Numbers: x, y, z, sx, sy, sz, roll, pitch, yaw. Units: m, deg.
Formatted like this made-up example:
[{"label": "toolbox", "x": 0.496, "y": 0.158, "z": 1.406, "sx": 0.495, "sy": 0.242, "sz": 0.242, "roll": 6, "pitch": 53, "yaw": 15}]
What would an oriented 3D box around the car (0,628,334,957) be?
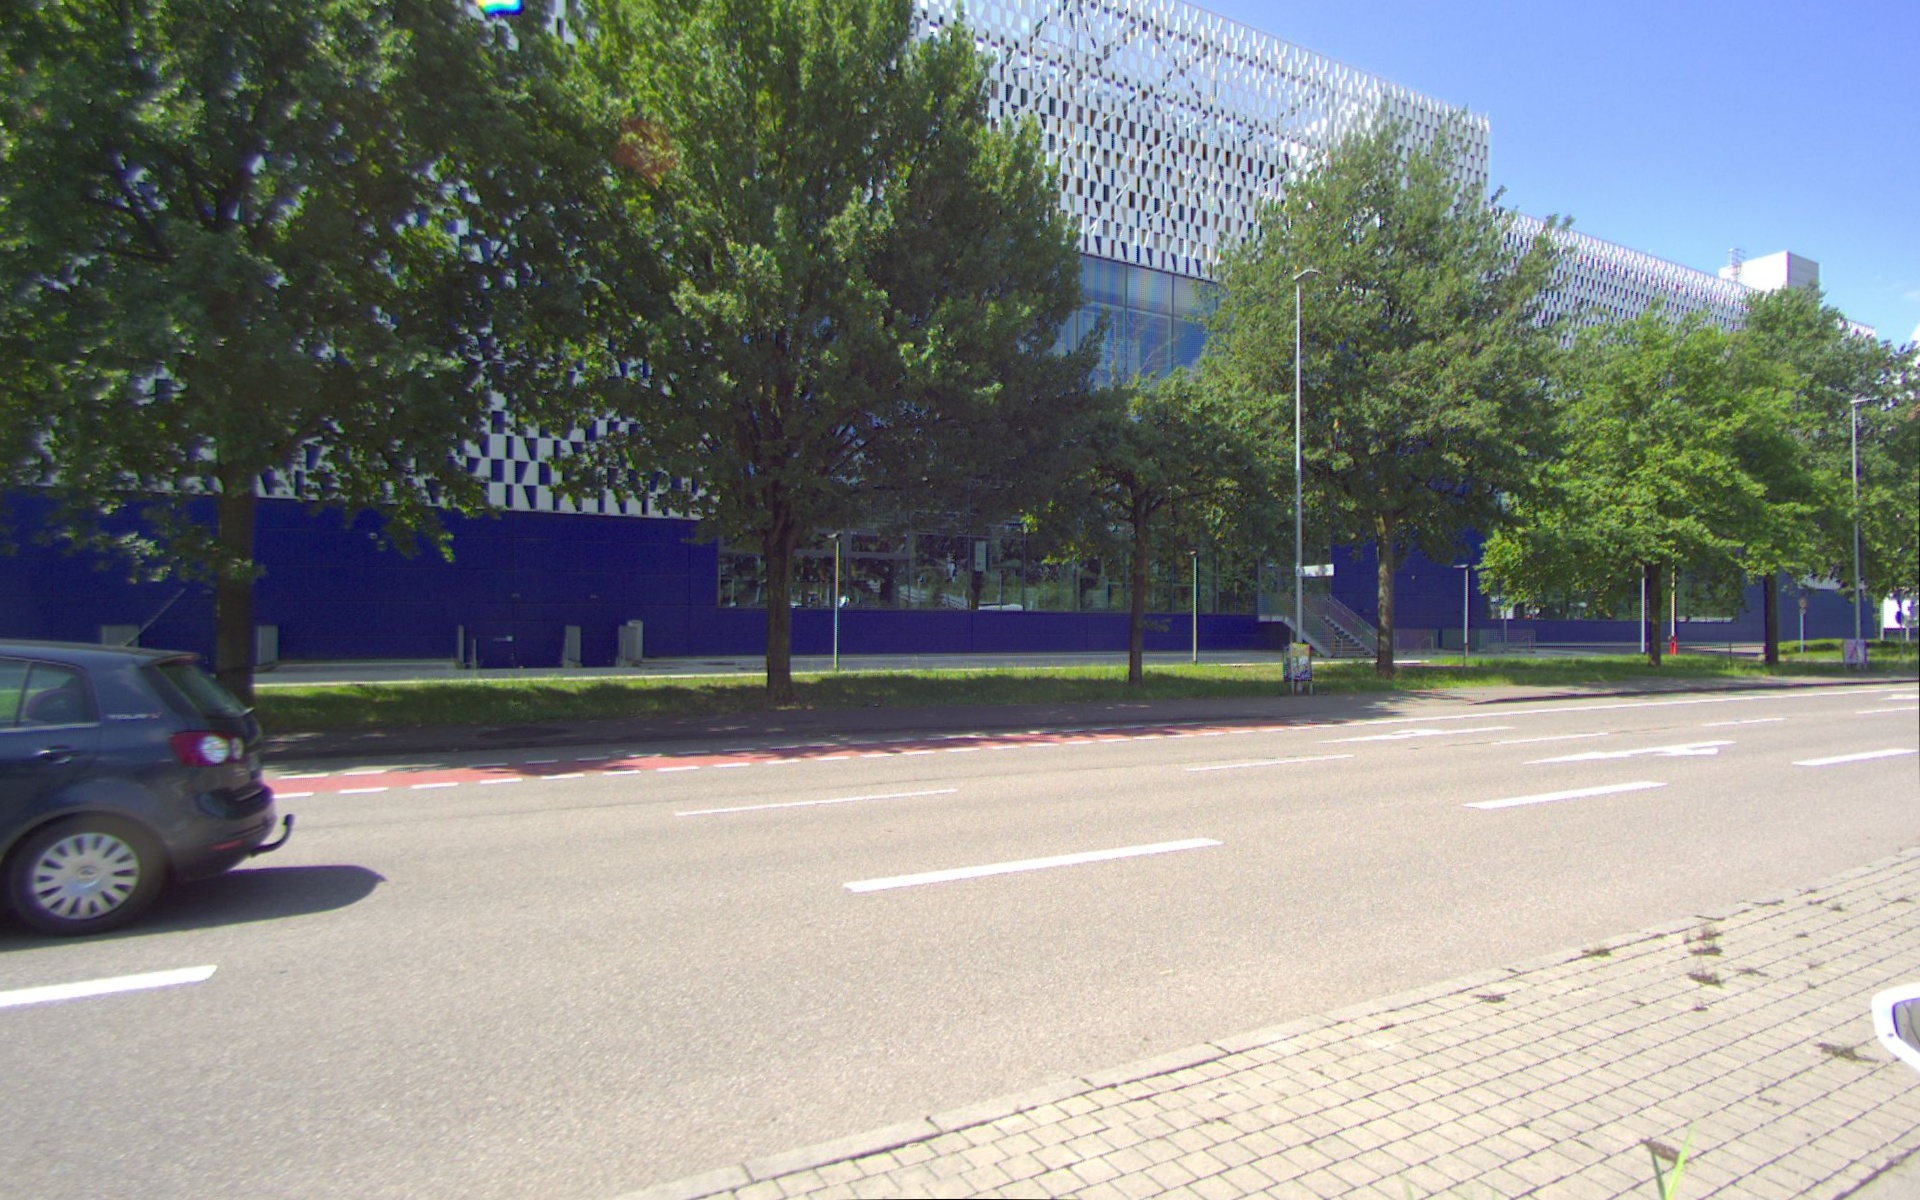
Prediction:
[{"label": "car", "x": -5.865, "y": 1.007, "z": 5.362, "sx": 4.192, "sy": 1.630, "sz": 1.730, "roll": 1, "pitch": -5, "yaw": -31}]
